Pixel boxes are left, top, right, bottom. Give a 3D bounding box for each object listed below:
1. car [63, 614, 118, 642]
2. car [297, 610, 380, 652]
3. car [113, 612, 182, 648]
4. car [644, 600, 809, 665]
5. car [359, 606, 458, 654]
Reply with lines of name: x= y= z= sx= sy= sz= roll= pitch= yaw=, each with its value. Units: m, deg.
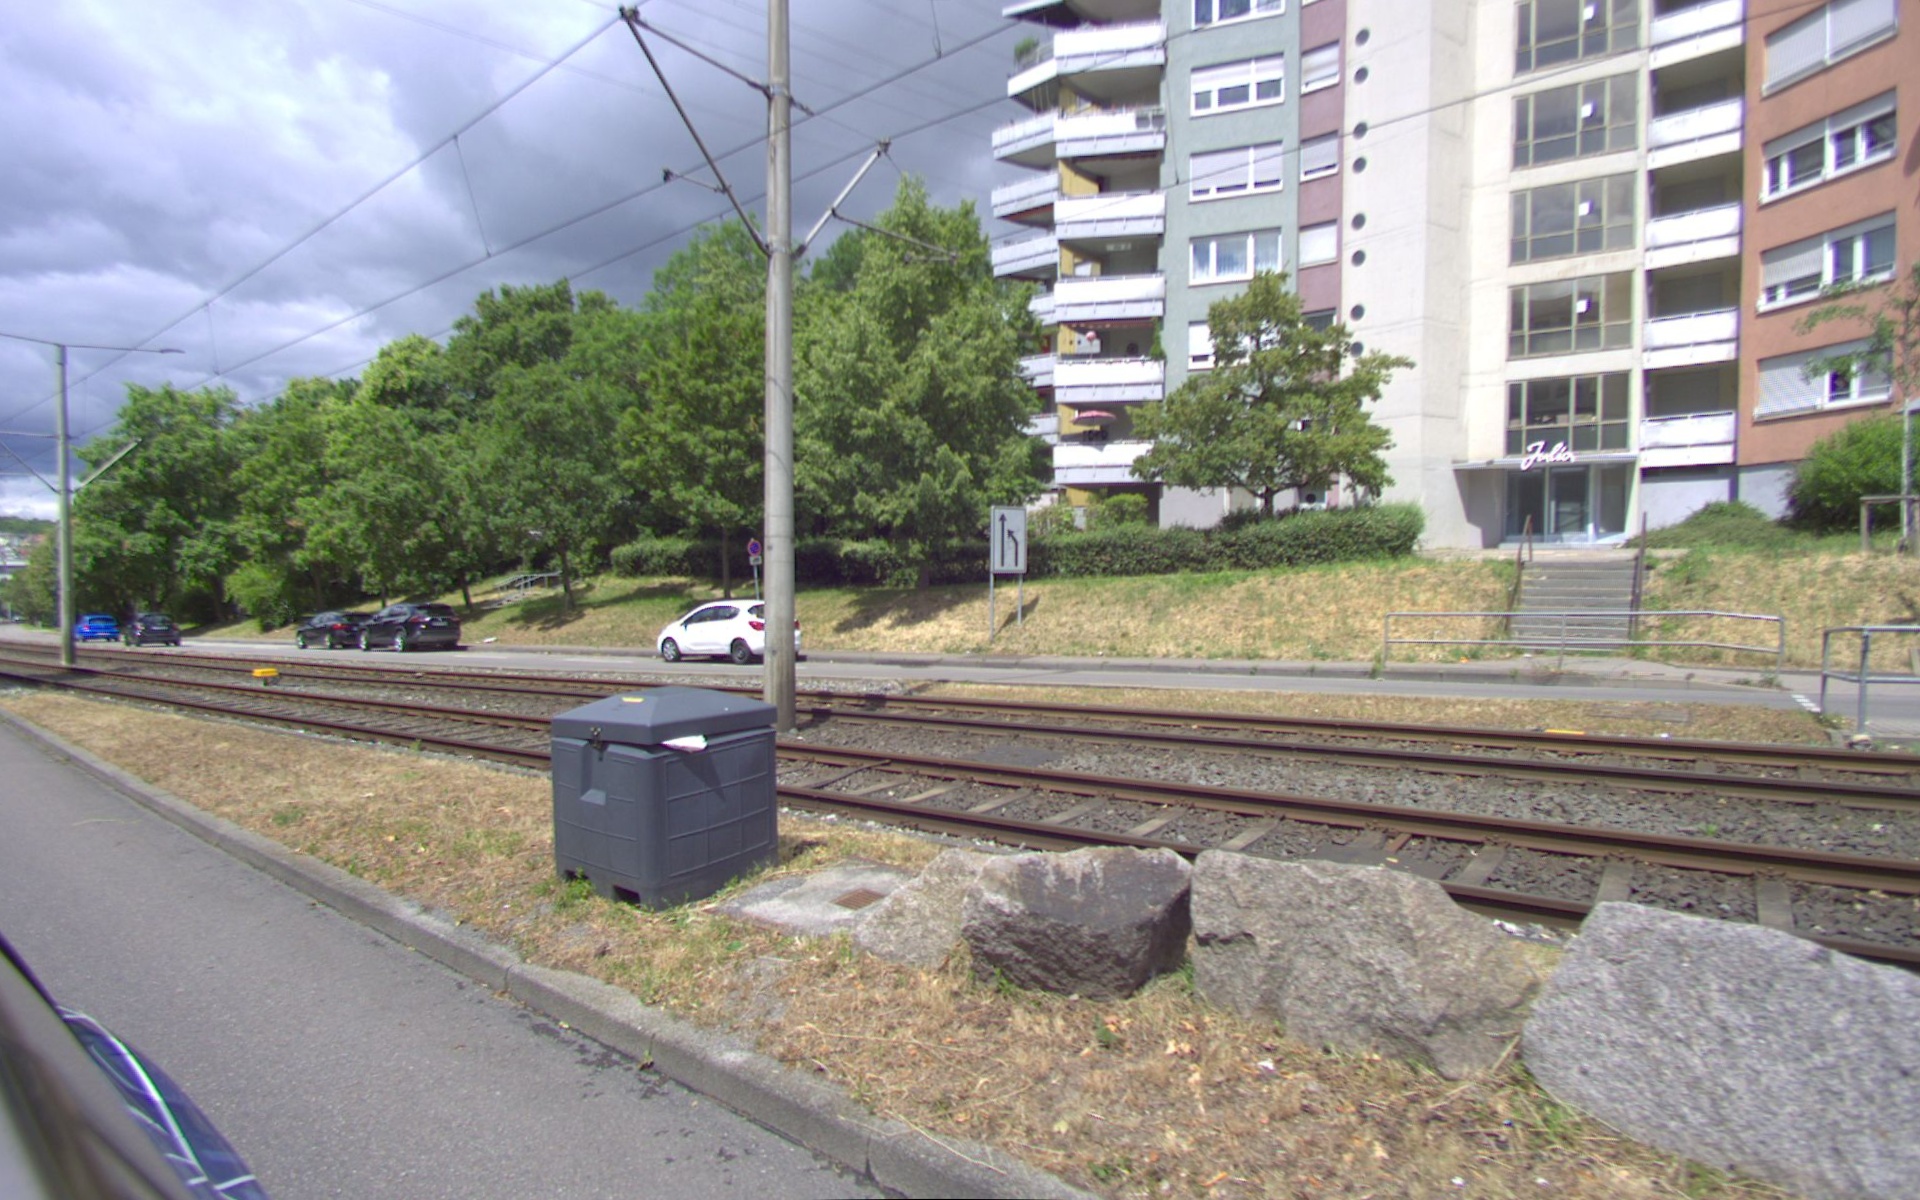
car: x=-48.266 y=1.573 z=56.159 sx=3.733 sy=1.466 sz=1.616 roll=-2 pitch=0 yaw=39
car: x=-23.737 y=1.170 z=38.625 sx=3.465 sy=1.451 sz=1.586 roll=-1 pitch=0 yaw=39
car: x=-36.785 y=1.368 z=45.786 sx=3.733 sy=1.524 sz=1.638 roll=-2 pitch=0 yaw=39
car: x=-5.671 y=0.777 z=24.414 sx=3.990 sy=1.429 sz=1.640 roll=-2 pitch=0 yaw=35
car: x=-18.956 y=1.029 z=34.731 sx=3.733 sy=1.524 sz=1.638 roll=-2 pitch=0 yaw=39
